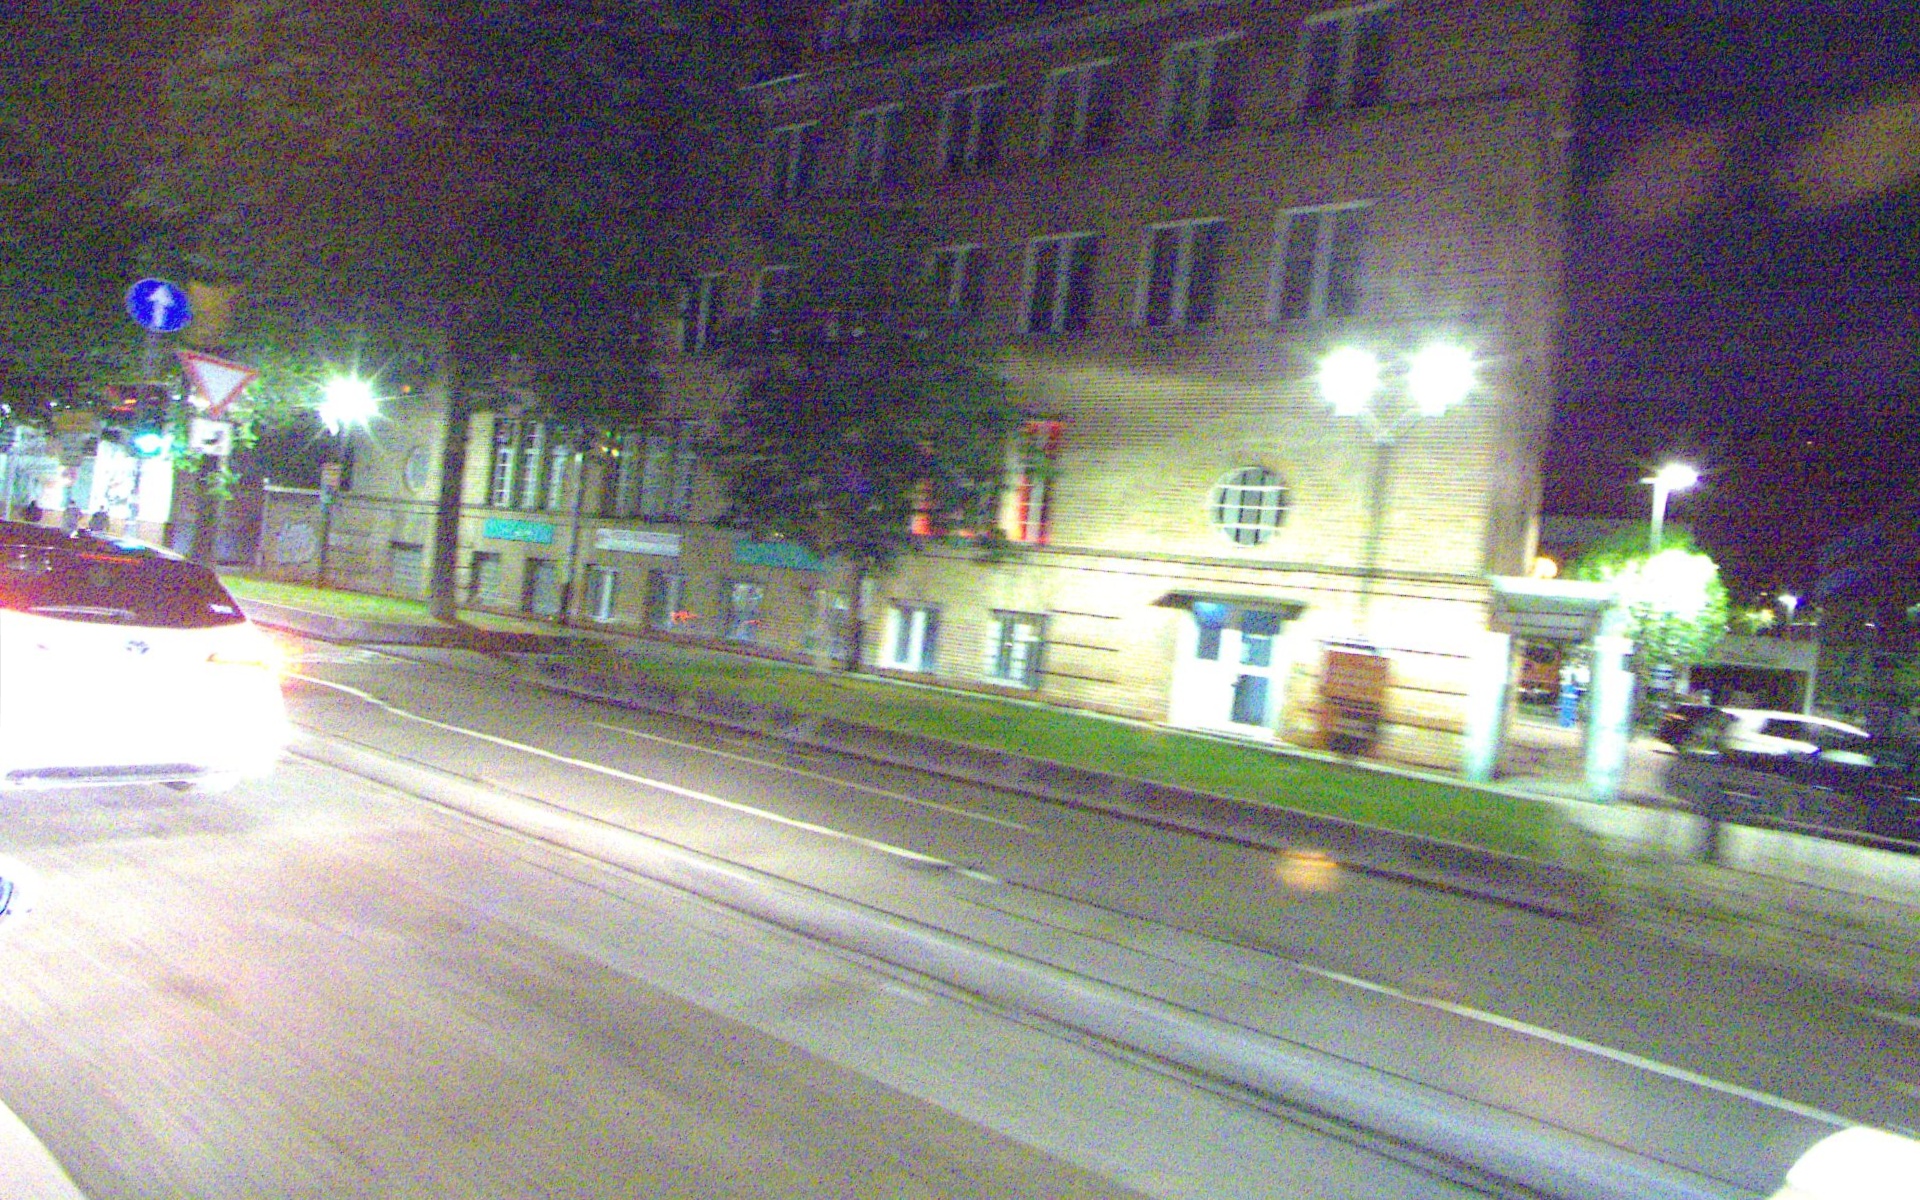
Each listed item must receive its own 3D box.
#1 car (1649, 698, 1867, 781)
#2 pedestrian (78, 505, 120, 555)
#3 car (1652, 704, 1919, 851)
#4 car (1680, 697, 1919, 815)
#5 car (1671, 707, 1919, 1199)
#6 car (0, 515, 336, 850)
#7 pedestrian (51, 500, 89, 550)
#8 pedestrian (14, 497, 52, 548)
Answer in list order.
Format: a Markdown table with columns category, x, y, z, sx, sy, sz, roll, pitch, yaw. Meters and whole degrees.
| category | x | y | z | sx | sy | sz | roll | pitch | yaw |
| --- | --- | --- | --- | --- | --- | --- | --- | --- | --- |
| car | 20.952 | 3.615 | 26.690 | 4.170 | 1.446 | 1.996 | 6 | -1 | 31 |
| pedestrian | -33.883 | -2.757 | 39.579 | 0.892 | 1.791 | 0.902 | 7 | 1 | 31 |
| car | 12.046 | 2.435 | 13.476 | 4.409 | 1.412 | 1.514 | 6 | 0 | 33 |
| car | 15.888 | 2.857 | 18.590 | 3.934 | 1.552 | 1.784 | 6 | 0 | 32 |
| car | 2.919 | 1.114 | 0.567 | 3.934 | 1.511 | 1.641 | 6 | -2 | 31 |
| car | -5.699 | 0.220 | 5.790 | 4.140 | 1.451 | 1.734 | 6 | -3 | 30 |
| pedestrian | -34.003 | -2.872 | 38.447 | 0.892 | 1.791 | 0.739 | 7 | 1 | 31 |
| pedestrian | -34.684 | -2.897 | 37.652 | 0.892 | 1.791 | 0.715 | 7 | 1 | 31 |
